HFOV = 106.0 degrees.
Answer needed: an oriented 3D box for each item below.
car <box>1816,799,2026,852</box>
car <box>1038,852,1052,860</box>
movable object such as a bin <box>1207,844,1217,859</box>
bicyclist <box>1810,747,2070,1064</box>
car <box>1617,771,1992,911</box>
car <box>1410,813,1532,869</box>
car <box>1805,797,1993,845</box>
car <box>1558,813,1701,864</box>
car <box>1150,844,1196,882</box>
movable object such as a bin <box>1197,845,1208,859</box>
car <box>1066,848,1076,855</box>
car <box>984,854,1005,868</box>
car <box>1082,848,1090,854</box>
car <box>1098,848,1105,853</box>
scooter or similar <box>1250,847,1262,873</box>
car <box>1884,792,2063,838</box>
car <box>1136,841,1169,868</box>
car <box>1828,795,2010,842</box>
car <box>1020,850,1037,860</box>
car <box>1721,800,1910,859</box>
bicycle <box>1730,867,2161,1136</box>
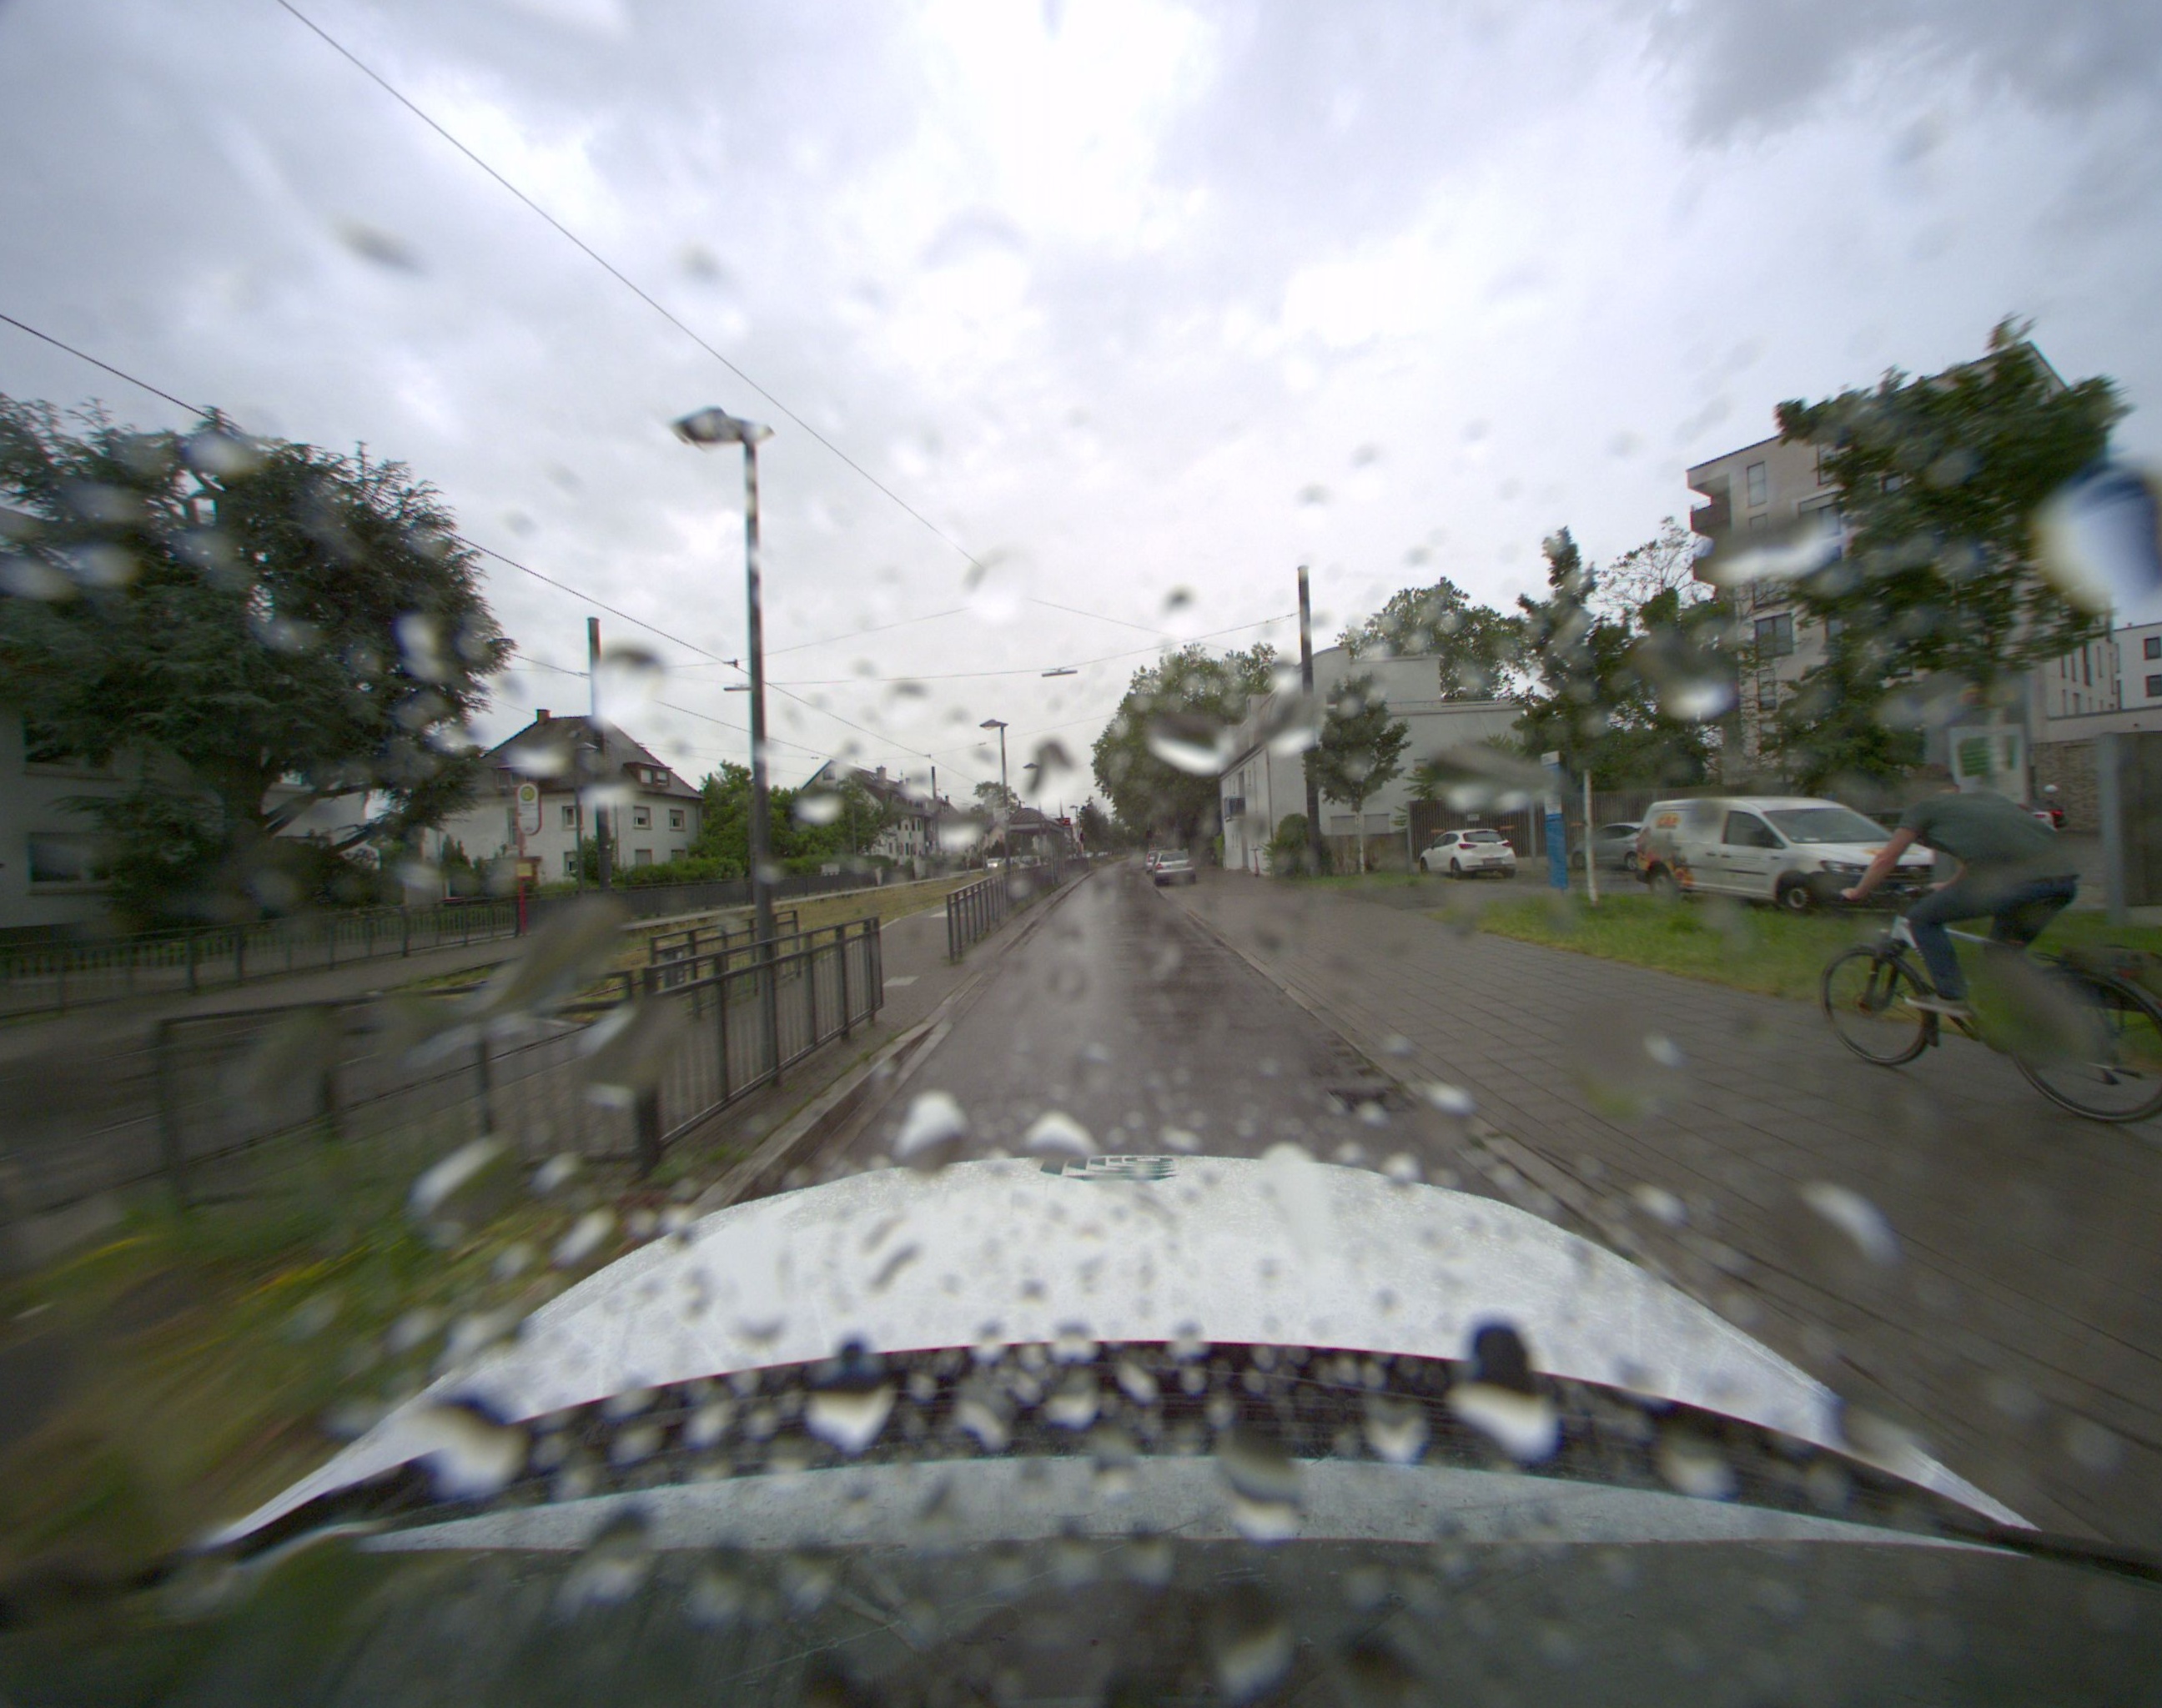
[{"bbox_3d":[27.052,-0.883,26.411,1.973,1.534,4.328,-3,1,-24],"label":"car"},{"bbox_3d":[-6.861,0.408,154.869,1.919,1.486,4.007,-2,0,6],"label":"car"},{"bbox_3d":[9.752,-0.186,60.741,0.534,1.022,0.739,-5,0,2],"label":"movable object such as a bin"},{"bbox_3d":[4.634,0.254,4.448,0.533,1.559,0.771,-2,0,-6],"label":"bicyclist"},{"bbox_3d":[11.177,-0.223,13.215,1.954,1.783,4.903,-2,1,4],"label":"car"},{"bbox_3d":[12.052,-0.414,25.512,1.954,1.534,4.369,-2,1,4],"label":"car"},{"bbox_3d":[29.124,-1.127,29.174,1.973,1.534,4.328,-3,1,-24],"label":"car"},{"bbox_3d":[17.133,-0.494,25.671,1.959,1.446,3.661,-2,1,-3],"label":"car"},{"bbox_3d":[4.019,0.379,36.186,1.643,1.405,4.653,-6,-1,3],"label":"car"},{"bbox_3d":[9.167,-0.167,61.436,0.690,1.022,0.825,-5,0,2],"label":"movable object such as a bin"},{"bbox_3d":[-2.357,-0.606,189.992,1.919,1.486,4.007,-2,0,6],"label":"car"},{"bbox_3d":[-9.741,0.803,92.204,1.626,1.493,4.004,-2,0,4],"label":"car"},{"bbox_3d":[1.404,-0.864,223.094,1.919,1.486,4.007,-2,0,6],"label":"car"},{"bbox_3d":[6.485,-0.952,253.469,1.919,1.486,4.007,-2,0,6],"label":"car"},{"bbox_3d":[7.500,0.250,34.908,0.331,1.085,1.399,-2,0,8],"label":"scooter or similar"},{"bbox_3d":[34.116,-1.462,31.273,1.976,1.534,4.322,-3,1,-29],"label":"car"},{"bbox_3d":[4.529,0.044,51.898,1.799,1.467,3.797,-6,-1,3],"label":"car"},{"bbox_3d":[31.191,-1.285,30.481,1.973,1.534,4.328,-3,1,-24],"label":"car"},{"bbox_3d":[-8.044,0.176,125.480,1.919,1.486,4.007,-2,0,6],"label":"car"},{"bbox_3d":[21.854,-0.716,24.512,1.954,1.534,4.369,-2,1,4],"label":"car"},{"bbox_3d":[4.646,0.636,4.430,0.535,1.093,1.945,-2,0,-4],"label":"bicycle"}]
